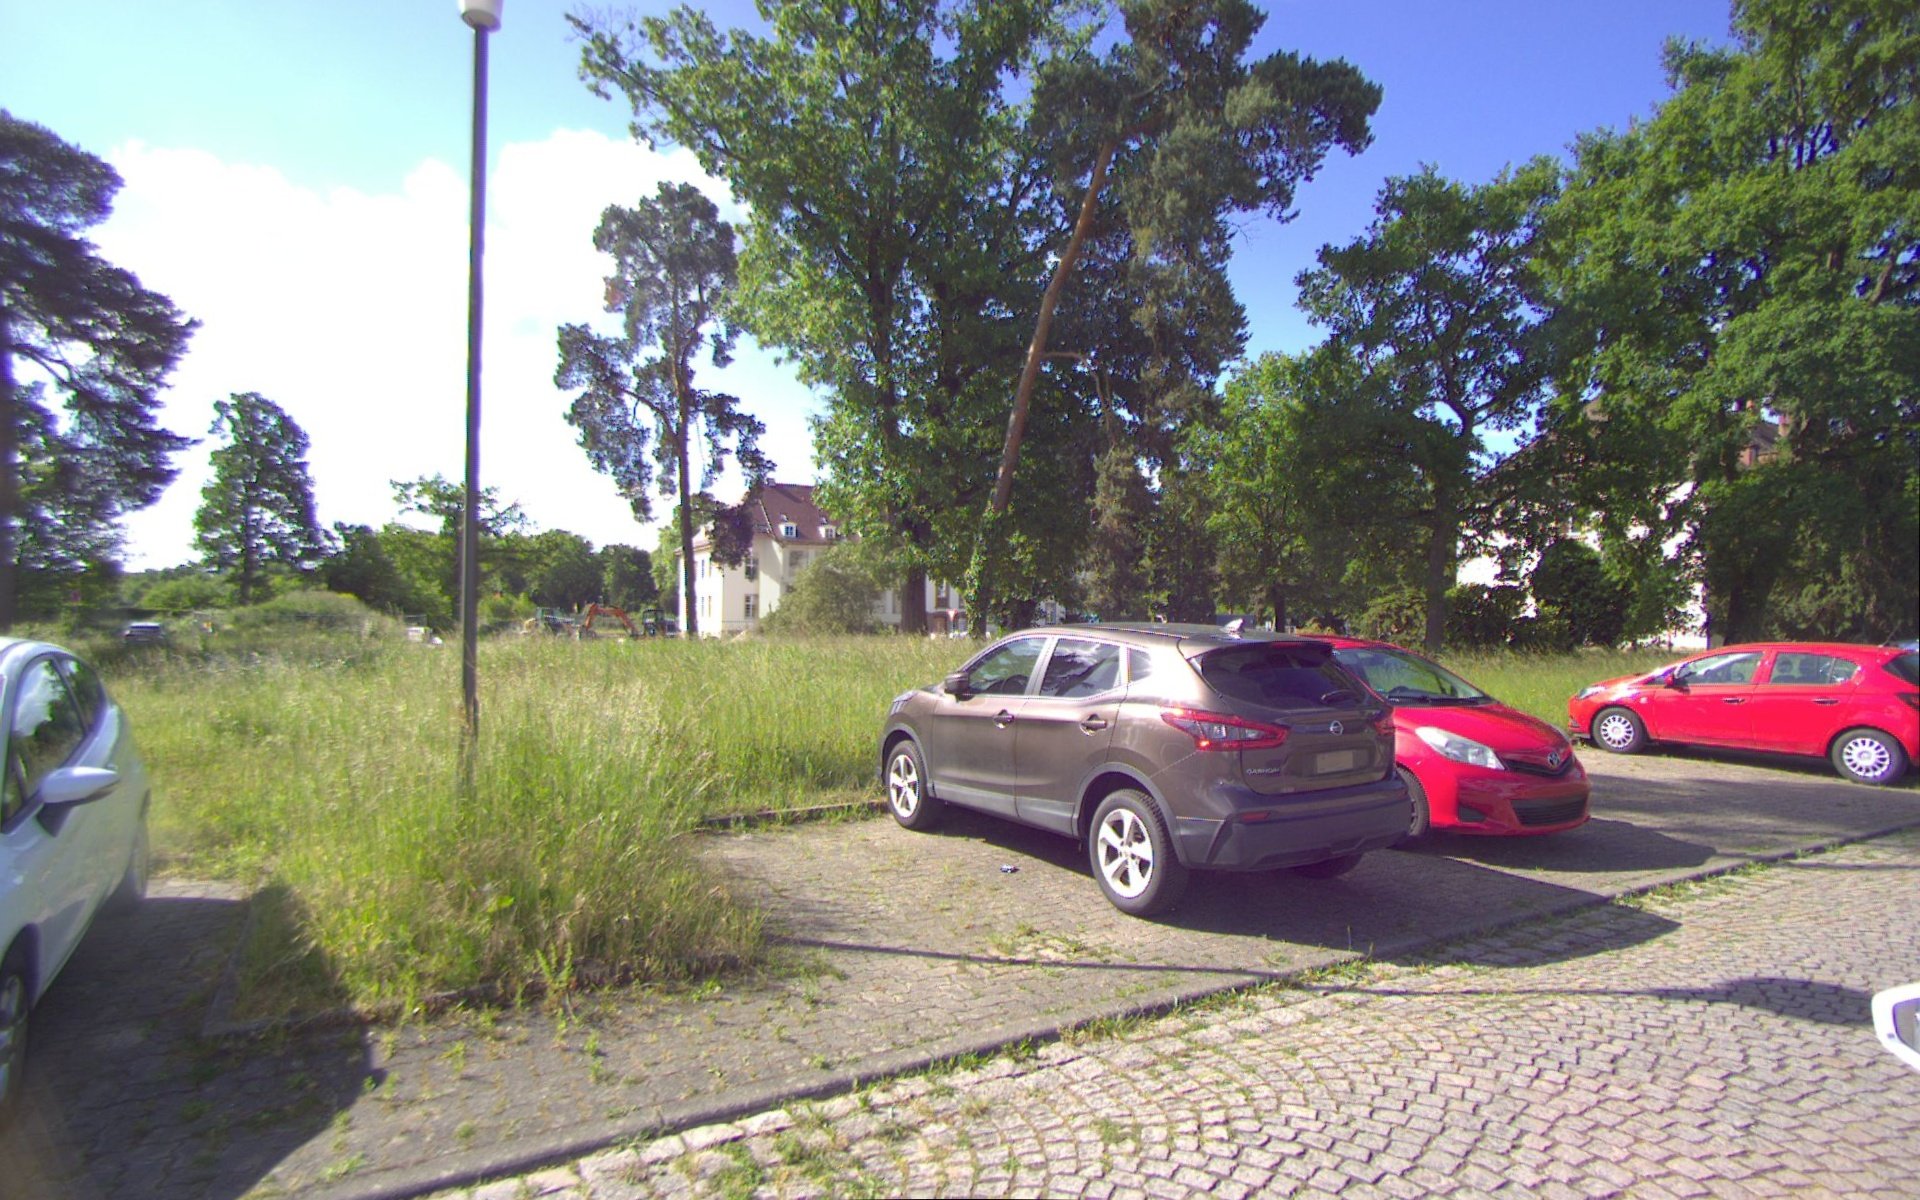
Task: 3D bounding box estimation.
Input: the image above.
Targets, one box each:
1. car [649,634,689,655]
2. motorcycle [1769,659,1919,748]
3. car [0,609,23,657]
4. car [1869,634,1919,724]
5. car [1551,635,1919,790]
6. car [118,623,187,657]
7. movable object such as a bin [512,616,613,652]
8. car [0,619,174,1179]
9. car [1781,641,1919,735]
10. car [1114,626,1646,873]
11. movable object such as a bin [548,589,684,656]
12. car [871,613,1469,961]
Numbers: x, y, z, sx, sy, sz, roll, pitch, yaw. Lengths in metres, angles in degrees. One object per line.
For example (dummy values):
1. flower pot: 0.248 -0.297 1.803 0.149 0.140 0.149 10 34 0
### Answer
1. car: -27.169 4.127 93.597 1.981 1.878 4.087 2 -3 -42
2. motorcycle: 13.471 1.514 14.912 0.570 1.177 2.233 1 -1 -28
3. car: -45.637 1.523 46.613 1.933 2.192 4.826 1 -2 -28
4. car: 18.678 1.425 17.322 1.862 1.600 4.116 1 -1 -29
5. car: 9.786 1.237 12.409 1.821 1.480 3.903 1 0 -31
6. car: -40.191 1.983 50.089 1.889 1.626 4.212 2 -2 -28
7. movable object such as a bin: -25.175 2.138 63.694 5.565 2.153 2.530 0 -2 16
8. car: -4.149 0.847 3.613 1.665 1.459 3.794 2 0 -32
9. car: 16.357 1.465 16.622 1.819 1.452 3.907 1 -1 -28
10. car: 3.297 1.022 8.645 1.845 1.468 3.903 1 0 -31
11. movable object such as a bin: -20.567 1.415 60.414 3.867 3.780 6.768 -1 -2 36
12. car: 1.117 0.928 7.016 1.951 1.589 3.933 1 0 -31
